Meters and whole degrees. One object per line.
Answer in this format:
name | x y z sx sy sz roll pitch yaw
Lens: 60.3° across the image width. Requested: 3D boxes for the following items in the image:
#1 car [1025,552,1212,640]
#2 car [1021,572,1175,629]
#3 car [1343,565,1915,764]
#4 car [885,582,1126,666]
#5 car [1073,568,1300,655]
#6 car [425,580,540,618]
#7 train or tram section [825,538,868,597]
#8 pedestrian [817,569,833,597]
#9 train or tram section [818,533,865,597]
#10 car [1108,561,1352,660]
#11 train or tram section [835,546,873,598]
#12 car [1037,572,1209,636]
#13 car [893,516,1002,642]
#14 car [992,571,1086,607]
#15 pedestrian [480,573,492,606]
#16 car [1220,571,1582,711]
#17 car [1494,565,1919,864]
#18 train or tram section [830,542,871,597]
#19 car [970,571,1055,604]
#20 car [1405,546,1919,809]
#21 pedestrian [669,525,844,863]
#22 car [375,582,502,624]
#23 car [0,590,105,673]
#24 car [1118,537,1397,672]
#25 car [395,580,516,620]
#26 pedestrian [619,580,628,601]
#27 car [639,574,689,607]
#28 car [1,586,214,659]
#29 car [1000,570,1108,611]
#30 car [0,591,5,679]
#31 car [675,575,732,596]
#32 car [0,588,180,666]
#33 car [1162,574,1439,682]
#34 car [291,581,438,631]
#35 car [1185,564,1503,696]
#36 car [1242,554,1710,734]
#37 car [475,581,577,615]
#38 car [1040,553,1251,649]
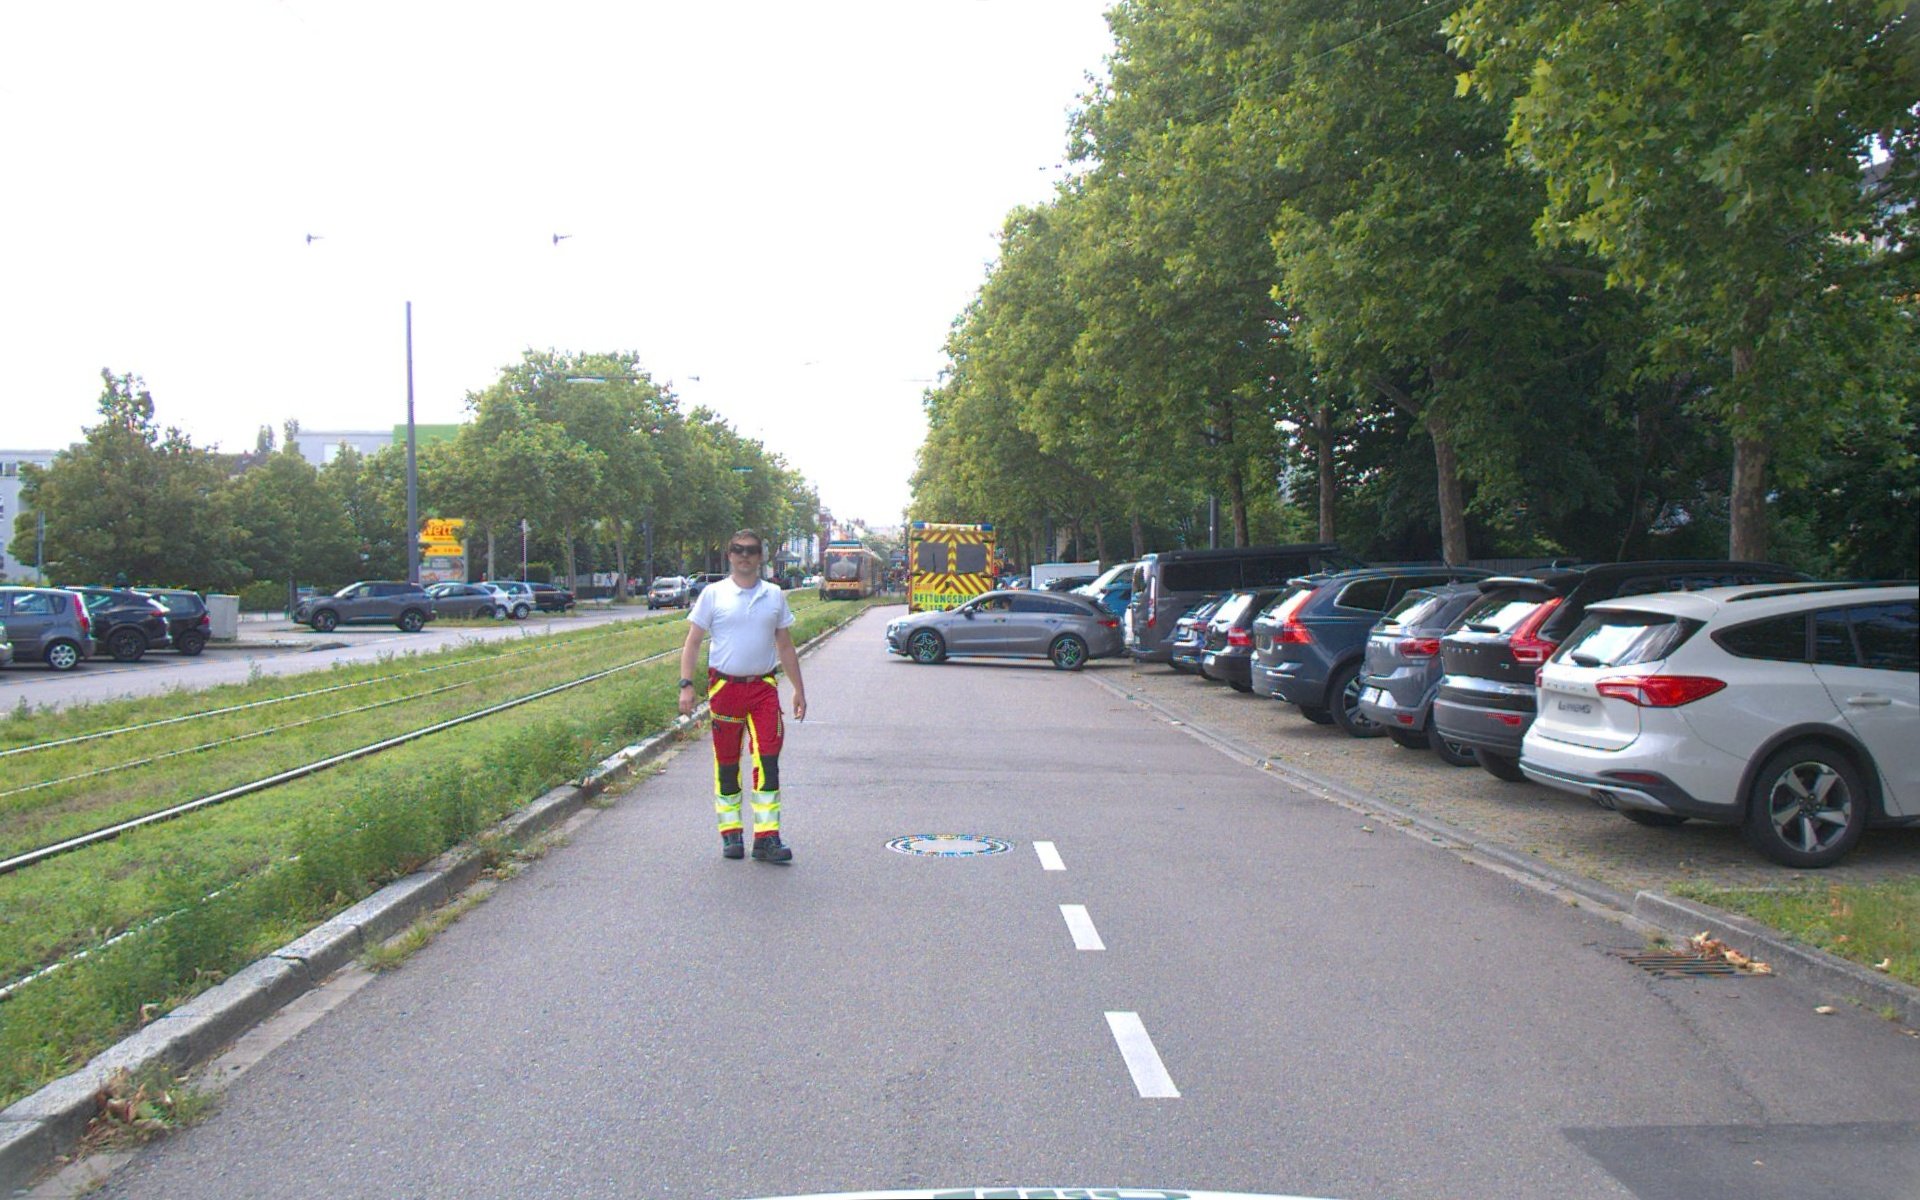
car | 4.022 -0.115 42.314 4.457 2.079 1.854 -1 1 -6
car | 4.210 0.001 50.951 4.457 1.636 1.854 -1 1 -6
car | 5.700 0.515 14.465 4.291 1.527 1.756 -1 1 0
car | 0.906 0.426 31.400 4.358 1.409 1.768 2 0 8
car | 4.768 0.229 35.205 4.458 1.689 1.853 -1 1 -6
car | -19.623 -0.023 68.028 4.190 1.508 1.858 0 0 -38
train or tram section | -7.361 -2.066 107.940 2.461 3.646 7.442 -2 0 -2
pedestrian | -7.835 -0.983 95.854 0.863 1.552 0.750 1 0 -2
train or tram section | -7.126 -2.072 100.514 2.461 3.646 7.442 -2 0 -2
car | 5.272 0.183 32.685 4.454 1.797 1.855 -1 1 -2
train or tram section | -7.807 -2.053 122.817 2.461 3.646 7.442 -2 0 -2
car | 4.487 0.090 45.801 4.457 1.636 1.854 -1 1 -6
car | -0.307 -0.552 44.216 2.587 3.018 6.299 2 0 0
car | 3.906 -0.547 82.356 4.457 1.636 1.854 -1 1 -6
pedestrian | -24.716 -0.549 86.286 0.457 1.706 0.603 -1 1 -3
car | 5.266 0.461 20.073 3.886 1.520 1.755 -1 1 -2
car | 5.730 0.551 9.732 4.568 1.499 1.846 -1 1 -5
train or tram section | -7.588 -2.060 115.380 2.461 3.646 7.442 -2 0 -2
car | 2.865 -0.693 90.562 4.457 1.636 1.854 -1 1 -6
car | 5.772 0.468 11.963 4.568 1.654 1.846 -1 1 -5
pedestrian | -1.112 0.472 8.925 0.791 1.716 0.847 0 0 -18
car | -19.555 0.112 62.089 4.190 1.508 1.858 0 0 -38
car | -18.658 0.613 31.427 4.179 1.508 1.864 -1 1 -31
car | 5.094 0.064 28.694 4.454 2.160 1.855 -1 1 -2
car | -19.798 0.012 65.008 4.190 1.508 1.858 0 0 -38
pedestrian | -23.675 -0.648 116.234 0.413 1.439 0.467 0 1 23
car | -15.508 -0.521 86.760 1.954 1.585 4.368 -2 1 -2
car | -19.288 0.471 37.456 4.179 1.508 1.864 -1 1 -31
car | 4.096 -0.427 72.509 4.457 1.636 1.854 -1 1 -6
car | -18.796 0.647 28.338 4.179 1.508 1.864 -1 1 -31
car | -21.799 -1.240 140.714 4.586 1.661 1.856 -1 1 -41
car | -18.659 0.542 34.505 4.179 1.508 1.864 -1 1 -31
car | 5.215 0.419 25.654 3.886 1.520 1.755 -1 0 -2
car | -18.718 0.179 51.986 4.170 1.508 1.867 0 0 -27
car | 5.249 0.368 22.791 3.896 1.633 1.751 -2 1 -12
car | 5.223 0.421 17.141 4.291 1.668 1.756 -1 1 0
car | -19.989 -0.087 76.224 4.198 1.508 1.855 0 0 -41
car | 4.185 0.006 37.724 4.457 2.035 1.854 -1 1 -6
